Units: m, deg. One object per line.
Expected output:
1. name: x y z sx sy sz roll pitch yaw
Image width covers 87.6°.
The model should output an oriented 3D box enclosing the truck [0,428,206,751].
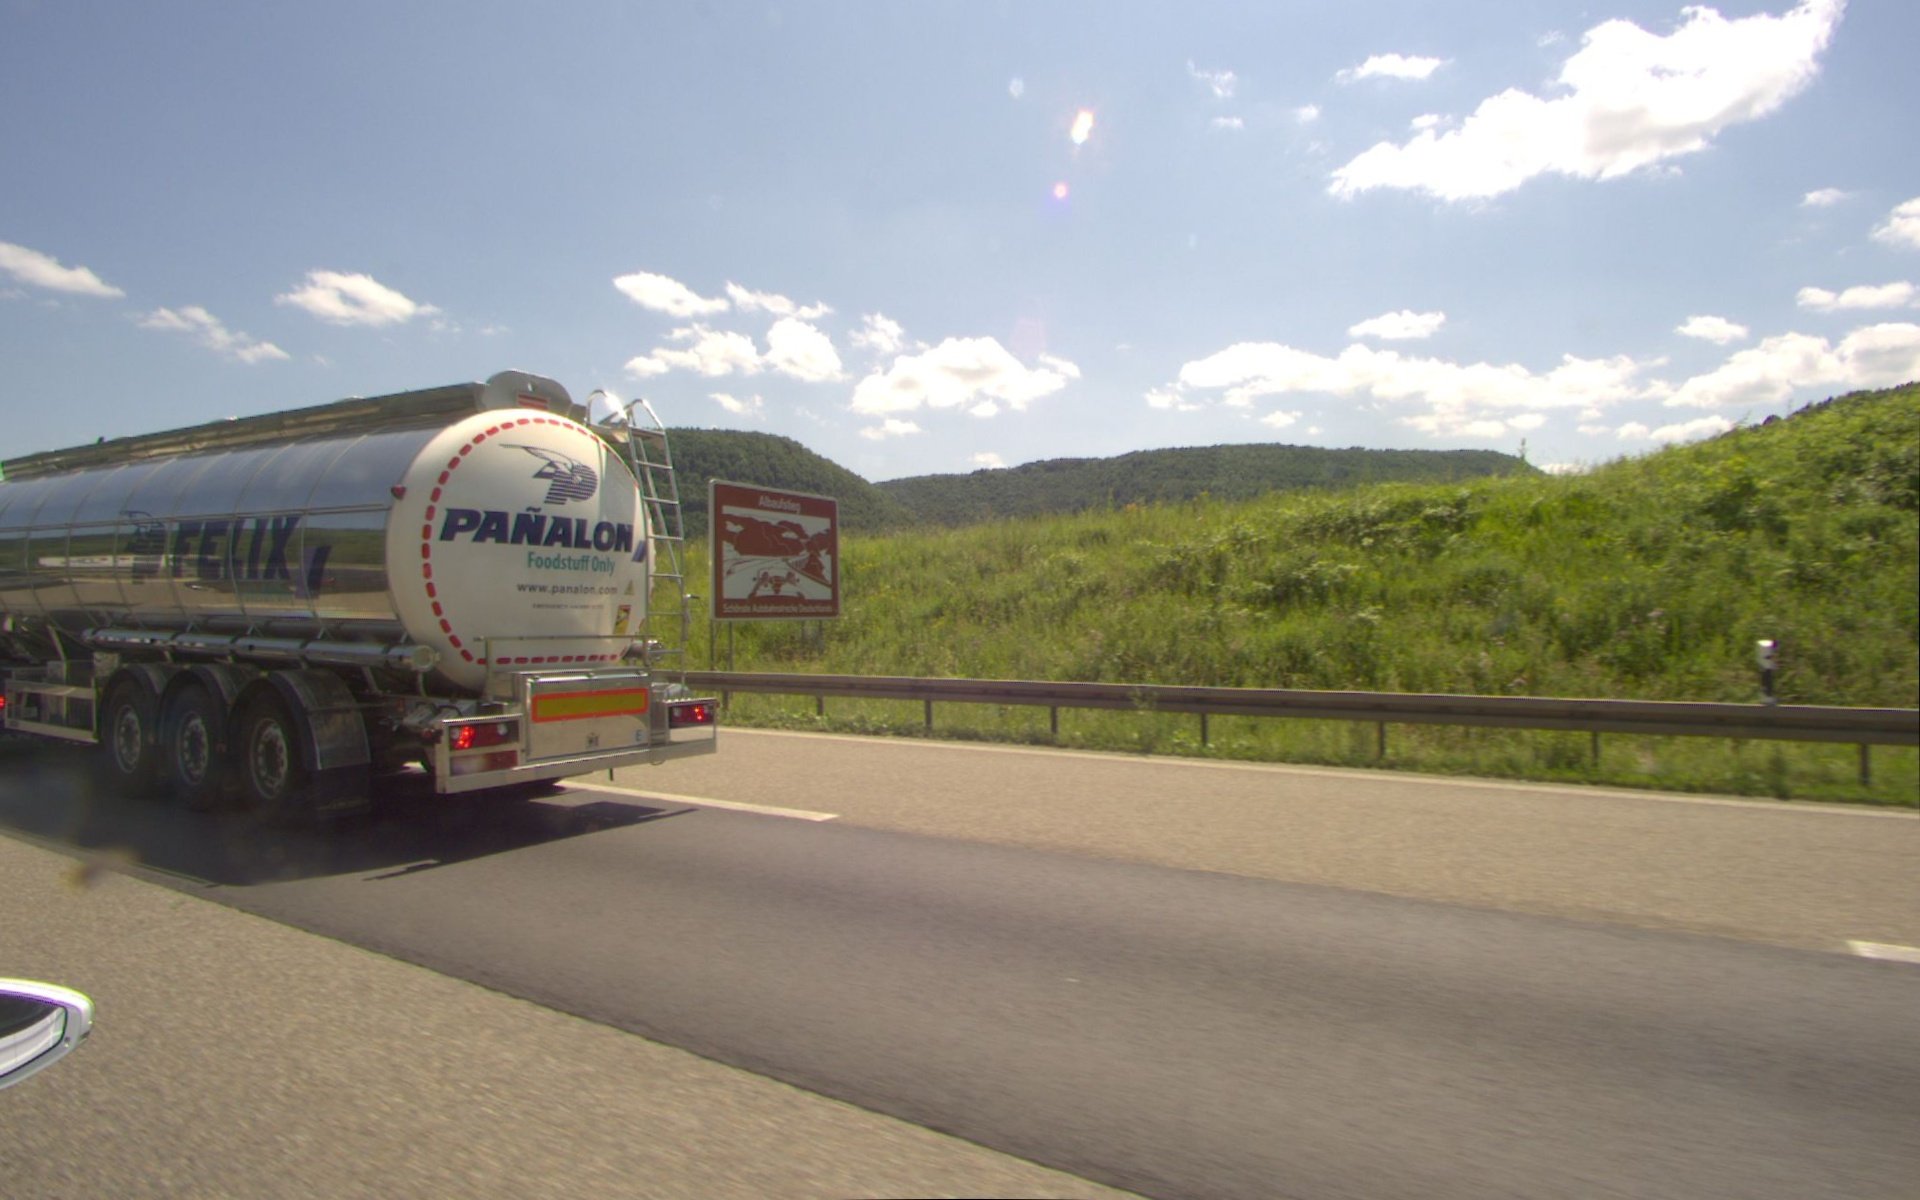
1. truck: -13.095 -0.048 13.888 5.170 3.806 2.508 -1 -2 32

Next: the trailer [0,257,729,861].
1. trailer: -7.572 -0.115 10.447 11.720 3.783 2.534 -1 -2 32
